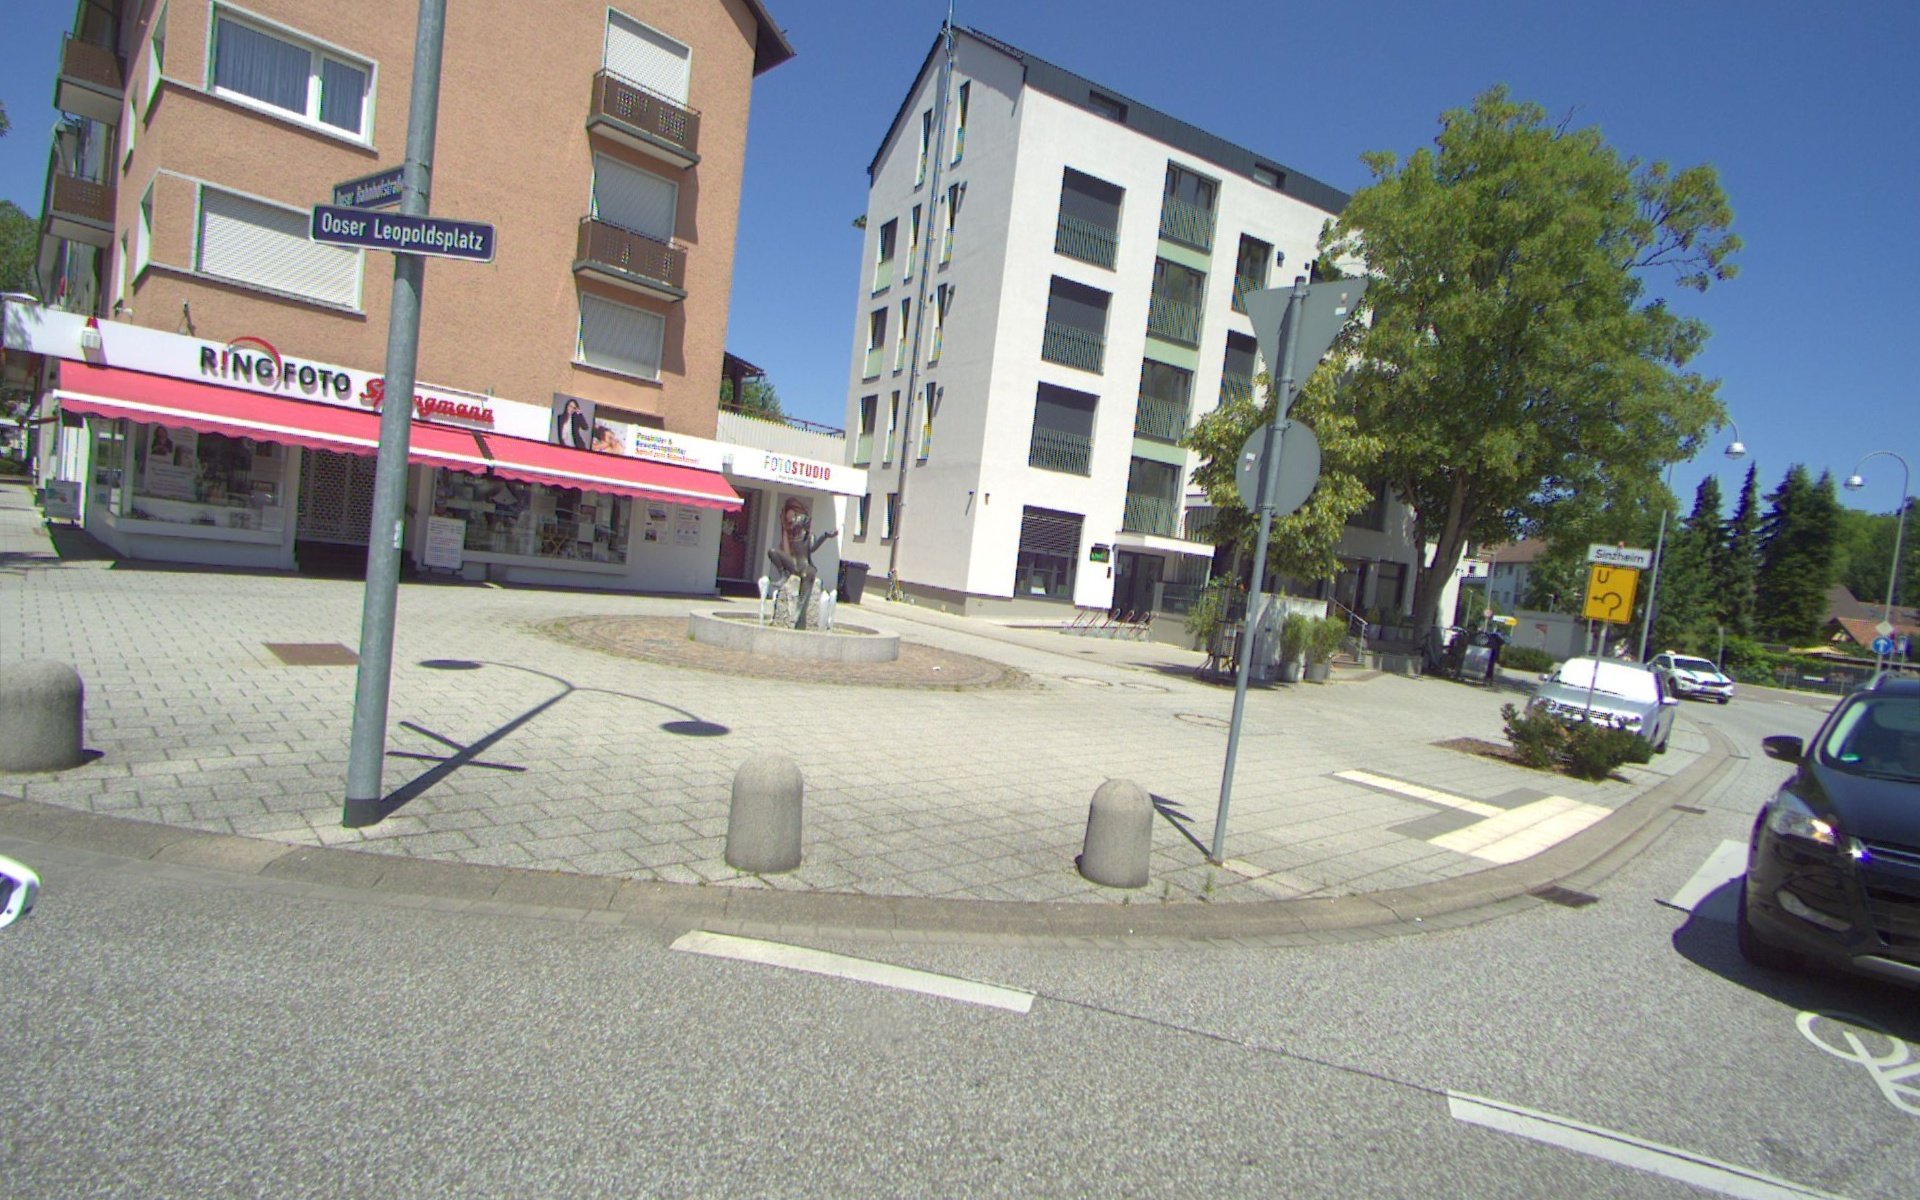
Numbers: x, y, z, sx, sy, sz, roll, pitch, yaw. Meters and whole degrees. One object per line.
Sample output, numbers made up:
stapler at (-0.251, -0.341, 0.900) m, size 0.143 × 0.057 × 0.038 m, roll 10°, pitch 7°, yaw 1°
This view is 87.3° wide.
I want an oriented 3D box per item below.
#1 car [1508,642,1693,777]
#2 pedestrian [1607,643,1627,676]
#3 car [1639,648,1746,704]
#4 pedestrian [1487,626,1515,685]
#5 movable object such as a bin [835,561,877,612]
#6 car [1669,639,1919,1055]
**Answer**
car at (10.355, 1.658, 16.144) m, size 1.775 × 1.611 × 3.979 m, roll 11°, pitch 4°, yaw 40°
pedestrian at (38.684, 3.511, 59.217) m, size 0.539 × 1.840 × 0.844 m, roll 9°, pitch 6°, yaw 19°
car at (27.244, 2.780, 37.575) m, size 1.802 × 1.595 × 3.997 m, roll 7°, pitch 2°, yaw 16°
pedestrian at (15.865, 1.613, 29.519) m, size 0.399 × 1.652 × 0.650 m, roll 9°, pitch 6°, yaw 22°
movable object such as a bin at (-2.674, -0.349, 25.832) m, size 0.751 × 1.171 × 0.767 m, roll 4°, pitch 6°, yaw -27°
car at (5.857, 1.277, 5.879) m, size 1.974 × 1.710 × 4.498 m, roll 8°, pitch 2°, yaw 44°
